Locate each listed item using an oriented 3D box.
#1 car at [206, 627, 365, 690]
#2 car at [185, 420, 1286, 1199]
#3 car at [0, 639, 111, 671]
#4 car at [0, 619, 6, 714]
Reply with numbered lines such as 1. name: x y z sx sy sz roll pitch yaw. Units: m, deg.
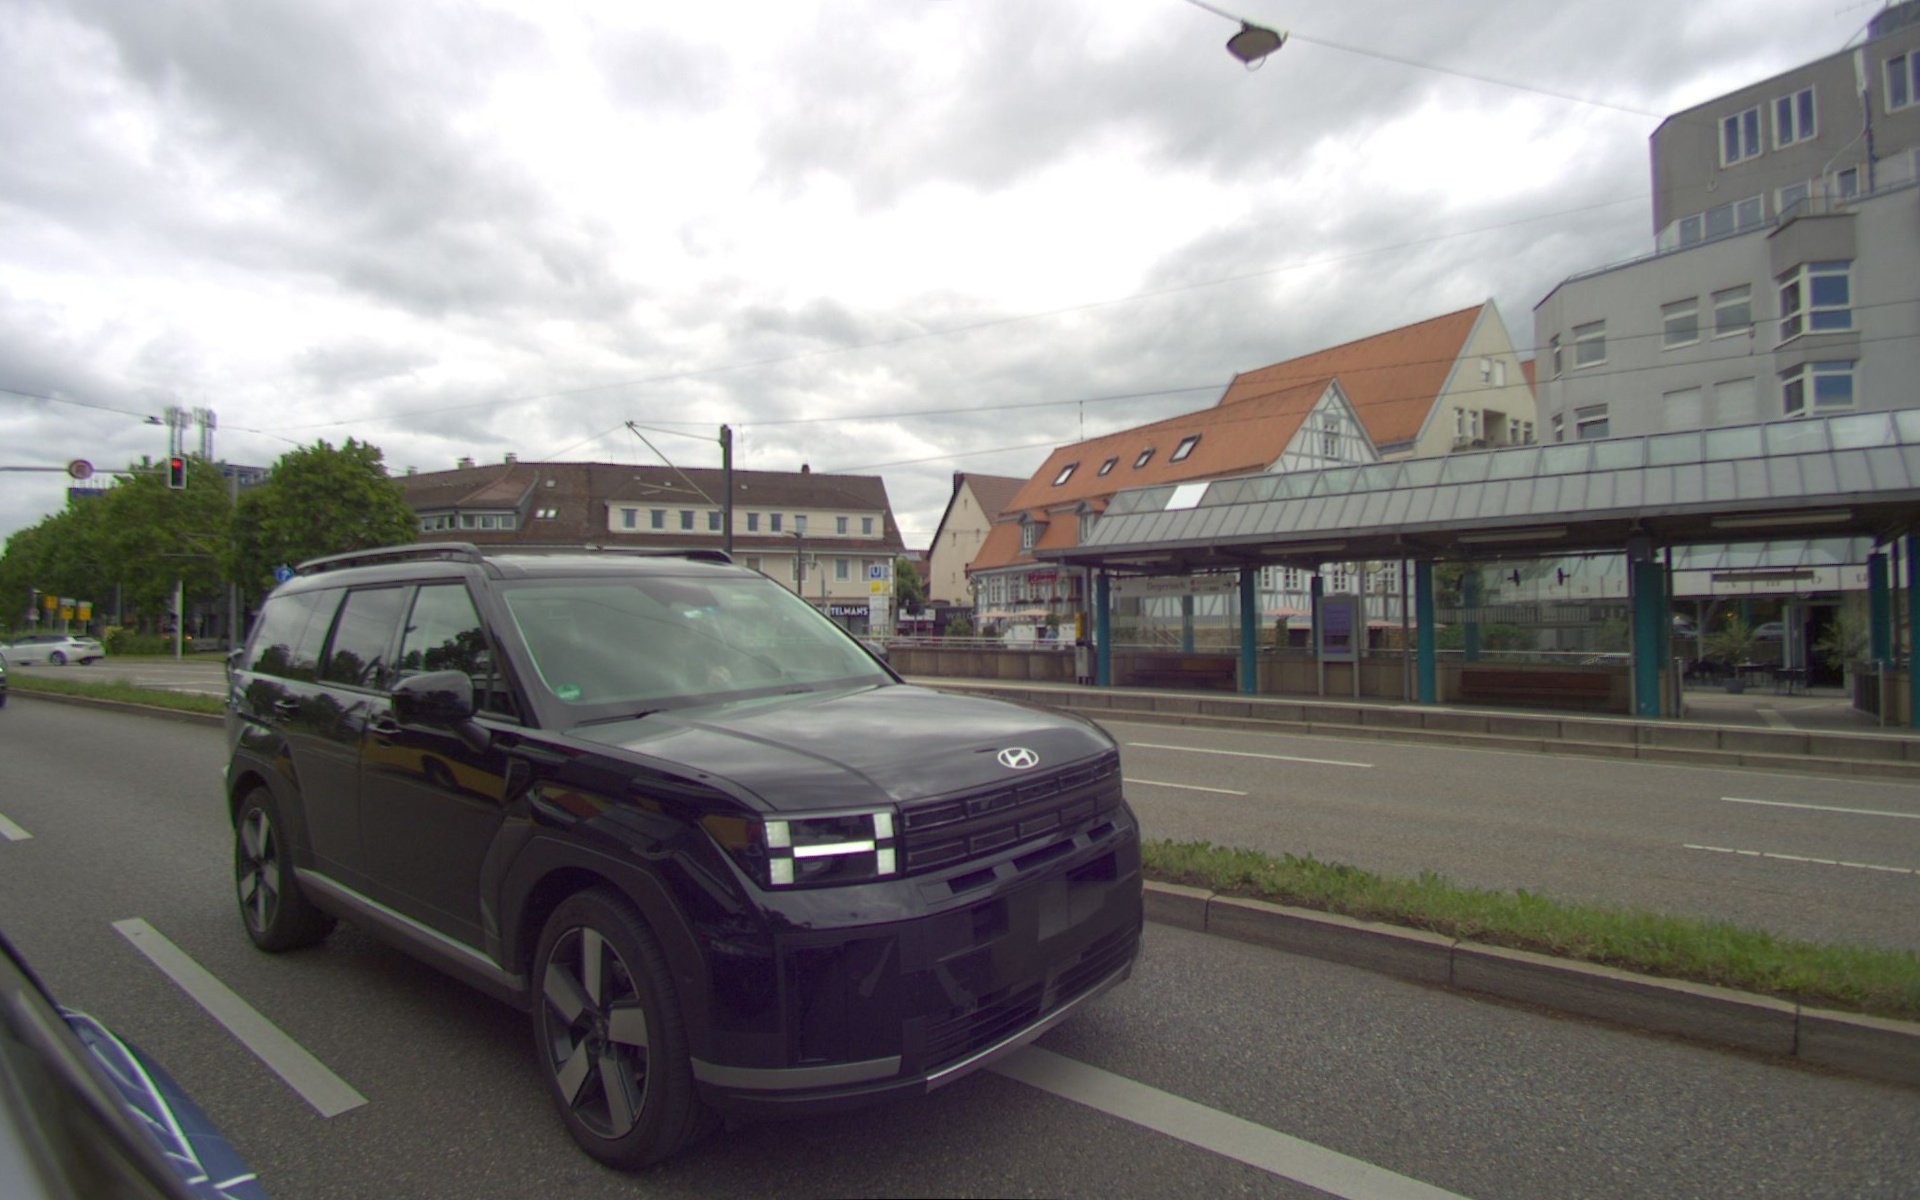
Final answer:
1. car: -17.804 1.489 26.644 4.635 1.524 1.976 -2 -3 36
2. car: -1.328 0.582 4.123 4.674 1.764 1.903 -2 0 40
3. car: -41.552 2.470 45.592 4.735 1.367 2.003 0 -2 -7
4. car: -19.125 1.213 18.451 4.389 1.662 1.974 -1 0 39
